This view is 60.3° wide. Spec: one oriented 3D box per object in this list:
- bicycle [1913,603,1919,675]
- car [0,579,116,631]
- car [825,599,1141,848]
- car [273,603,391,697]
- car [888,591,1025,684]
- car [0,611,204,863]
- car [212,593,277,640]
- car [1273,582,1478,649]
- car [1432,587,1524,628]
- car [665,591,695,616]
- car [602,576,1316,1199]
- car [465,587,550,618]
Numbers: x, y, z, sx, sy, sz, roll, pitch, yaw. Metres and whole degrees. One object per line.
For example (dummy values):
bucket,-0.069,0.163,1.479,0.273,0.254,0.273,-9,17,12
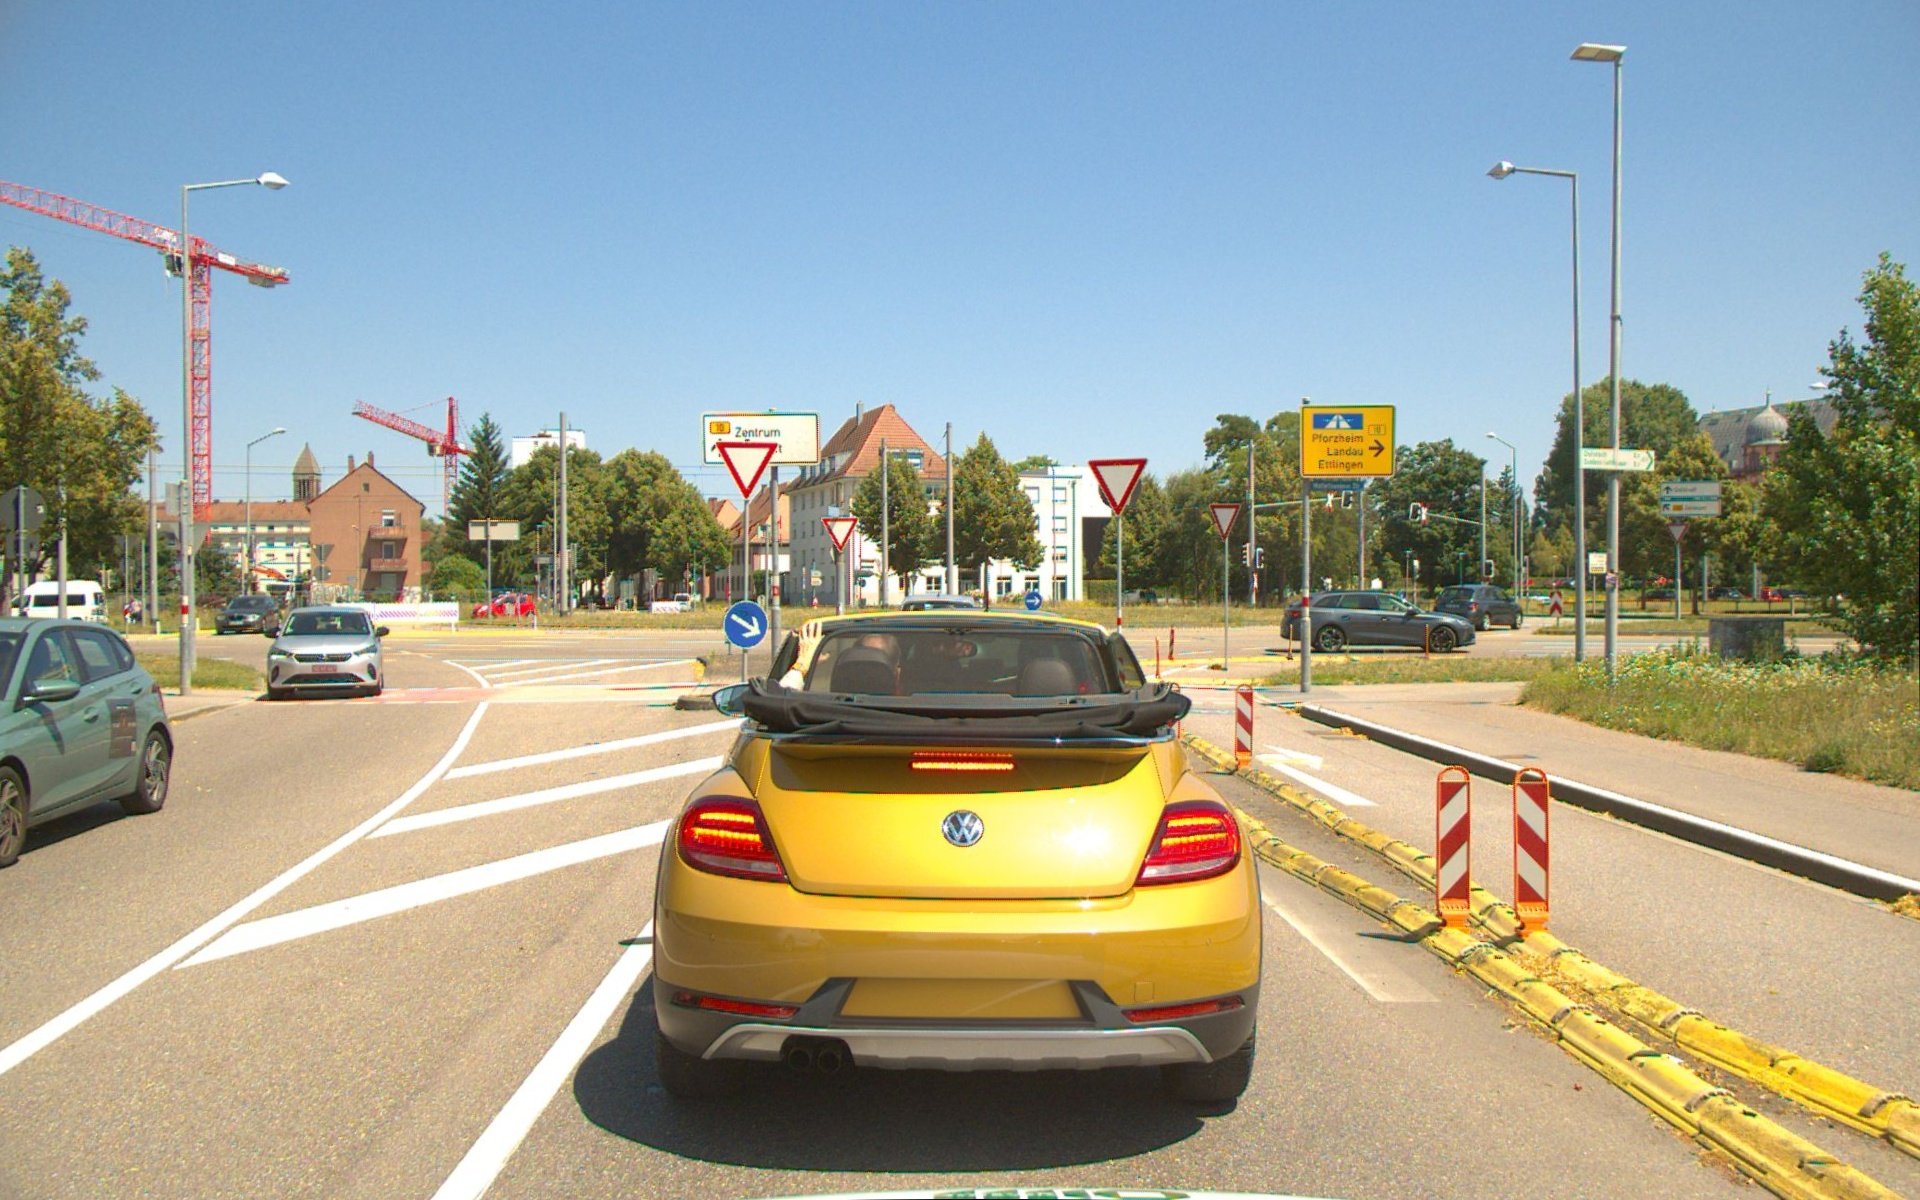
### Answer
bicycle,17.584,0.659,28.405,2.048,1.242,0.634,-1,0,1
car,-44.215,0.260,80.479,5.221,2.439,1.987,1,0,-15
car,0.102,0.711,11.681,1.814,1.389,4.257,-1,0,-1
car,-10.478,0.768,27.481,1.703,1.427,4.242,0,0,-22
car,0.023,0.589,27.680,2.022,1.406,4.259,1,0,3
car,-6.539,0.805,10.819,1.714,1.395,4.323,-1,0,-8
car,-27.368,0.624,63.368,1.722,1.736,3.982,1,0,-16
car,9.952,0.359,39.894,4.434,1.507,2.072,-1,0,1
car,16.679,0.243,53.180,3.190,1.281,1.417,1,0,-42
car,-24.937,0.312,147.279,1.956,2.107,5.302,1,0,-17
car,-0.027,0.717,6.189,1.729,1.507,4.257,1,0,-1
car,-25.516,0.154,93.362,4.313,1.683,1.870,1,0,-44
